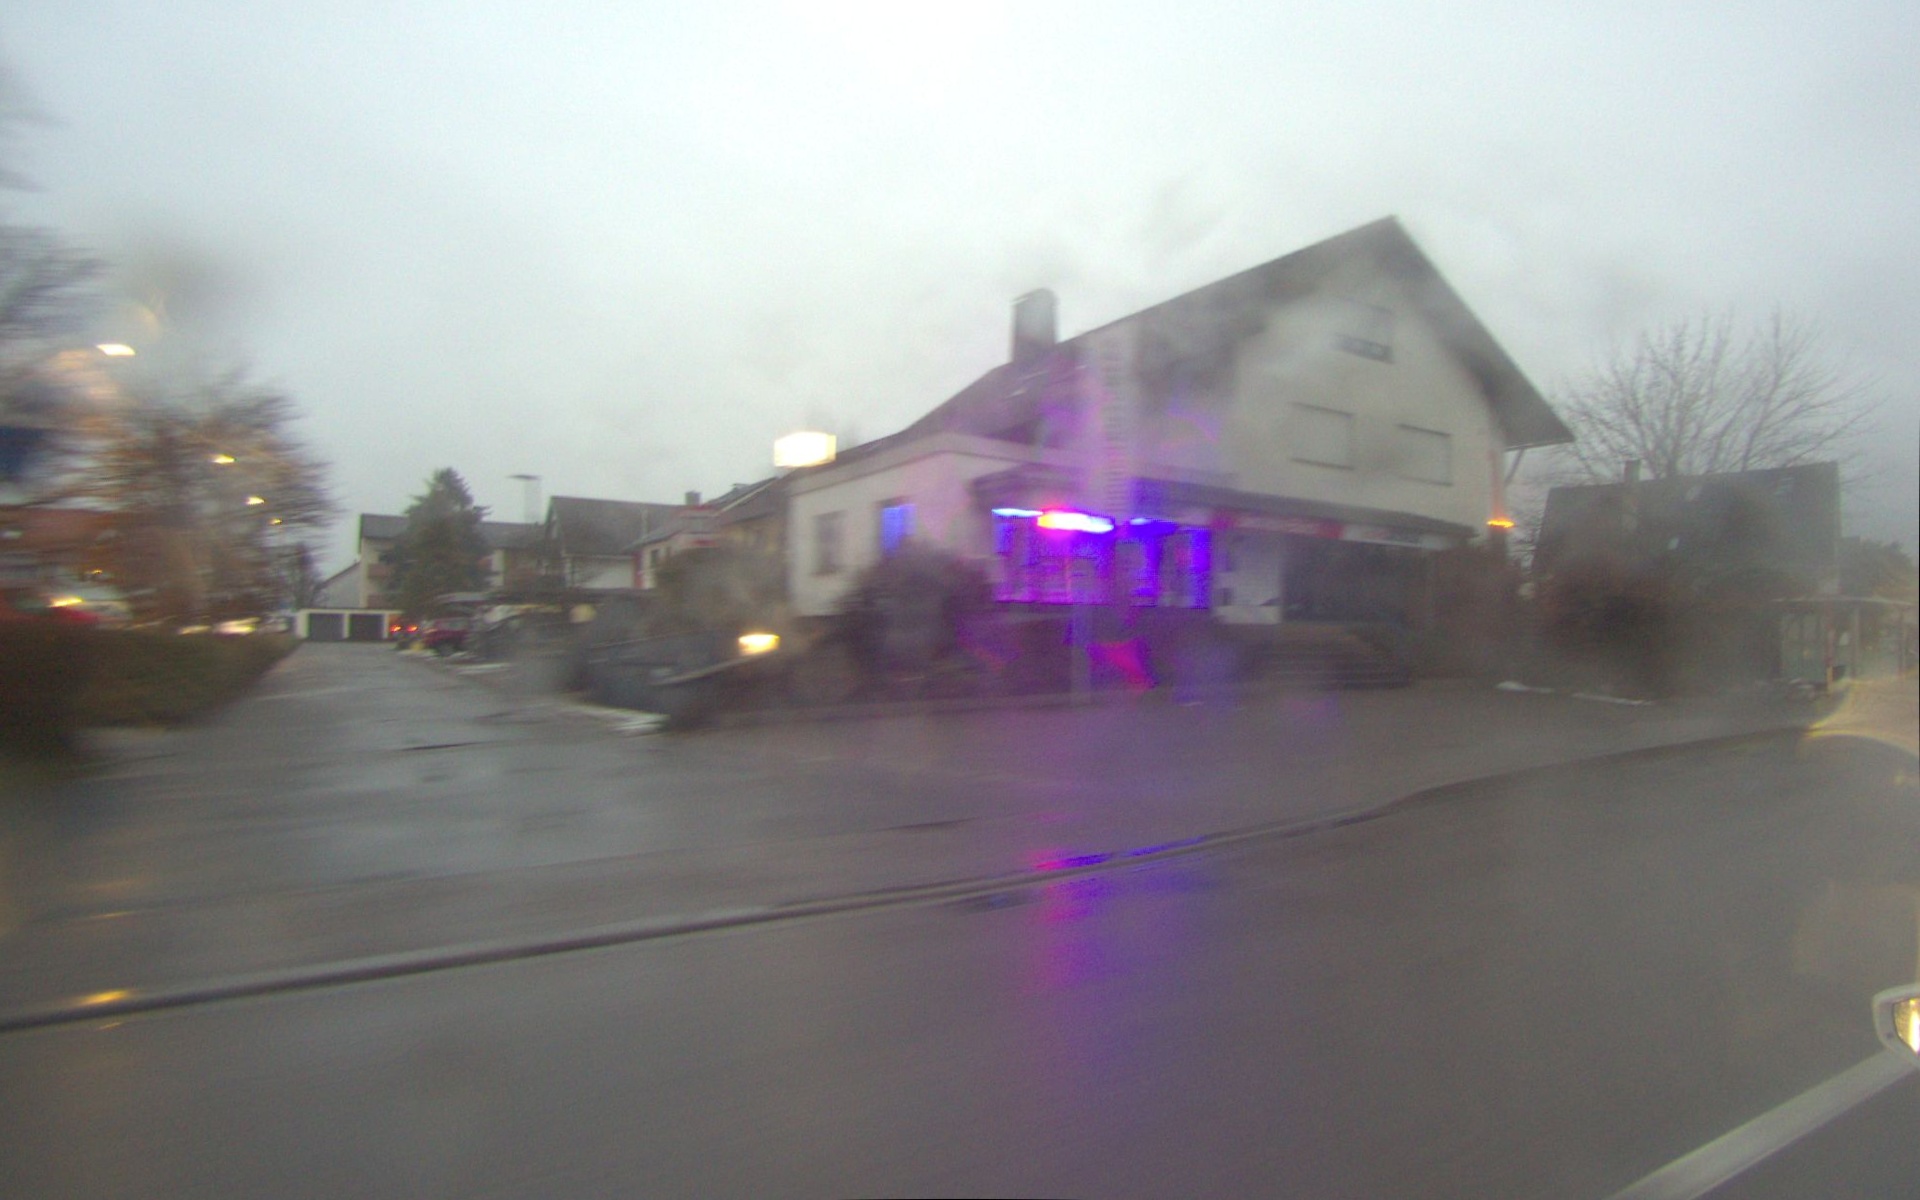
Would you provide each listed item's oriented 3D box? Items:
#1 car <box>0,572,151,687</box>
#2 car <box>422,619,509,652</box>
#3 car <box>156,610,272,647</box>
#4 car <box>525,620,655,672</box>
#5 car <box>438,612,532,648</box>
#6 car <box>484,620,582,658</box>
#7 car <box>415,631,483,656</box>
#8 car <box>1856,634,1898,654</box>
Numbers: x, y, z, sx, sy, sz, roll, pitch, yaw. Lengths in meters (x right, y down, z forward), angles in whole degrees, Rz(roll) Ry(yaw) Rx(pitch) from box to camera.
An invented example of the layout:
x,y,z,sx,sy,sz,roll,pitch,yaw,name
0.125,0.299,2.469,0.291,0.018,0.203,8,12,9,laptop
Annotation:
x,y,z,sx,sy,sz,roll,pitch,yaw,name
-20.390,0.569,20.924,5.209,2.310,2.268,0,1,-32,car
-22.023,1.599,44.796,3.338,1.350,1.425,2,2,-33,car
-37.459,1.399,50.616,4.465,1.662,1.922,0,2,-30,car
-10.795,1.321,29.347,3.338,1.350,1.425,2,2,-33,car
-19.479,1.230,41.209,3.338,1.350,1.425,2,2,-33,car
-16.726,1.514,39.359,3.338,1.350,1.425,2,2,-33,car
-26.635,2.270,52.468,3.119,1.189,1.375,2,1,-26,car
69.562,3.345,76.240,1.753,1.411,3.988,2,-1,35,car
